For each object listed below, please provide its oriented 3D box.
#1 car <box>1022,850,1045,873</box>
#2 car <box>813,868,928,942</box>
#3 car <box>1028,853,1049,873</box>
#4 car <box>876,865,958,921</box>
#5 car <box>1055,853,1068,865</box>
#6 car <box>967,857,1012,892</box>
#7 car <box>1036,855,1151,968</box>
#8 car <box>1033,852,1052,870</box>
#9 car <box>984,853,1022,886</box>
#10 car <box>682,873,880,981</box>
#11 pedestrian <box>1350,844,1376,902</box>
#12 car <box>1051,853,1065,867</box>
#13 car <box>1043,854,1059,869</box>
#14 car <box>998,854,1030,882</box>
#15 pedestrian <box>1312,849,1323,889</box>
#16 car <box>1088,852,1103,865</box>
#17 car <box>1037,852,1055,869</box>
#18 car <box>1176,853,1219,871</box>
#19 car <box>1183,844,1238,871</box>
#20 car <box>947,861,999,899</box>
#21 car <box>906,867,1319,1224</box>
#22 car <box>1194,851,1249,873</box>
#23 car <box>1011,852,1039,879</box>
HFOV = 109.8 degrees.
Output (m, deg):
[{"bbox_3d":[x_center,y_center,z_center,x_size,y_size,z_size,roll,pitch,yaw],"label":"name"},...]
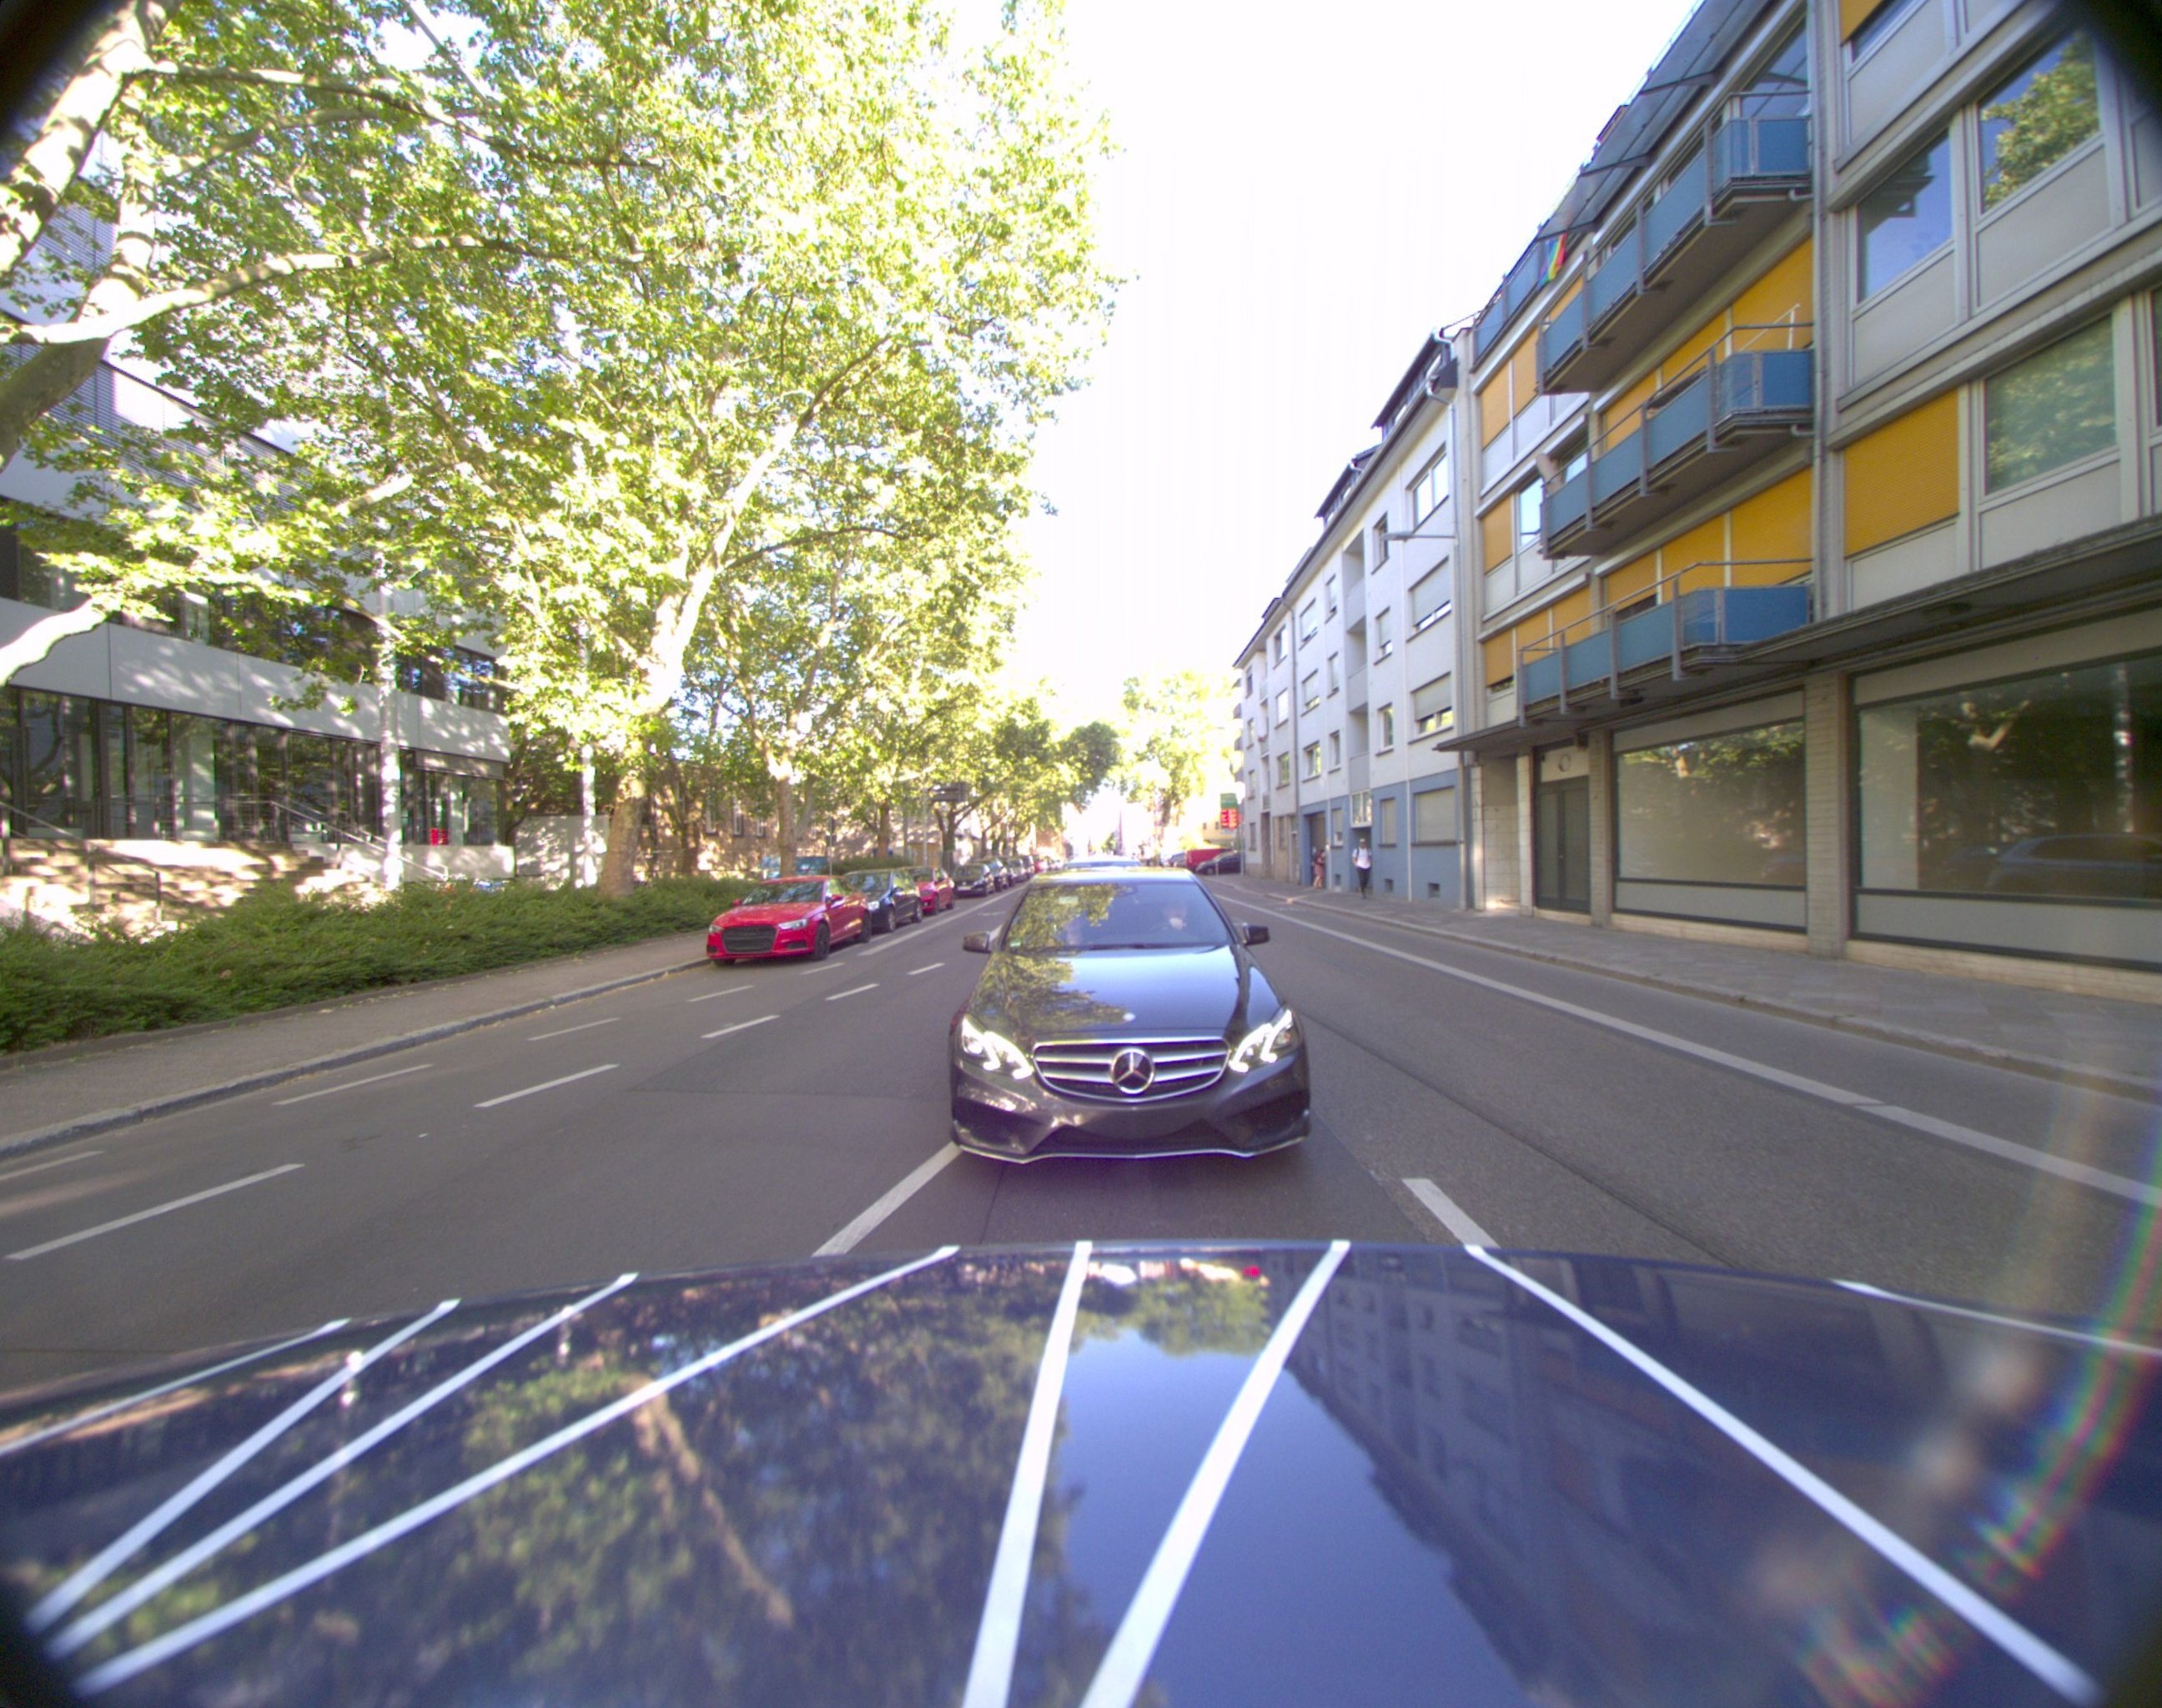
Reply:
[{"bbox_3d":[-4.131,0.641,66.085,1.635,1.878,3.673,-3,0,1],"label":"car"},{"bbox_3d":[-4.995,1.148,18.510,1.635,1.455,3.740,-3,0,1],"label":"car"},{"bbox_3d":[-3.929,0.847,71.445,1.635,1.713,3.673,-3,0,1],"label":"car"},{"bbox_3d":[-4.999,1.147,23.668,1.635,1.455,3.740,-3,0,1],"label":"car"},{"bbox_3d":[-2.742,0.716,109.695,1.635,1.713,3.673,-3,0,1],"label":"car"},{"bbox_3d":[-4.529,0.972,38.037,1.635,1.578,3.845,-3,0,1],"label":"car"},{"bbox_3d":[0.221,0.888,13.721,1.680,1.622,4.125,-3,0,1],"label":"car"},{"bbox_3d":[-3.946,0.731,78.193,1.635,1.713,3.673,-3,0,1],"label":"car"},{"bbox_3d":[-4.481,0.856,43.992,1.635,1.795,3.845,-3,0,1],"label":"car"},{"bbox_3d":[-5.145,1.174,13.710,1.804,1.455,4.125,-3,0,1],"label":"car"},{"bbox_3d":[8.560,0.579,23.068,0.569,1.716,0.343,-3,1,1],"label":"pedestrian"},{"bbox_3d":[-3.040,0.792,102.720,1.635,1.713,3.673,-3,0,1],"label":"car"},{"bbox_3d":[-3.627,0.927,92.286,1.635,1.713,3.673,-3,0,1],"label":"car"},{"bbox_3d":[-4.430,0.899,50.715,1.635,1.644,3.845,-3,0,1],"label":"car"},{"bbox_3d":[9.269,0.587,29.805,0.343,1.509,0.570,-3,1,19],"label":"pedestrian"},{"bbox_3d":[1.823,0.573,98.874,1.853,1.455,4.099,-3,0,1],"label":"car"},{"bbox_3d":[-3.948,0.718,86.059,1.635,1.713,3.673,-3,0,1],"label":"car"},{"bbox_3d":[9.565,0.643,62.603,3.325,1.241,1.295,-3,0,1],"label":"car"},{"bbox_3d":[10.193,0.267,59.995,3.927,1.912,1.636,-3,0,1],"label":"car"},{"bbox_3d":[-4.680,1.095,33.280,1.635,1.455,3.740,-3,0,1],"label":"car"},{"bbox_3d":[0.170,0.910,5.515,1.804,1.455,4.125,-3,0,1],"label":"car"},{"bbox_3d":[10.088,0.564,54.703,3.670,1.403,1.636,-3,0,1],"label":"car"},{"bbox_3d":[-4.075,0.830,55.602,1.635,1.799,3.673,-3,0,1],"label":"car"}]
